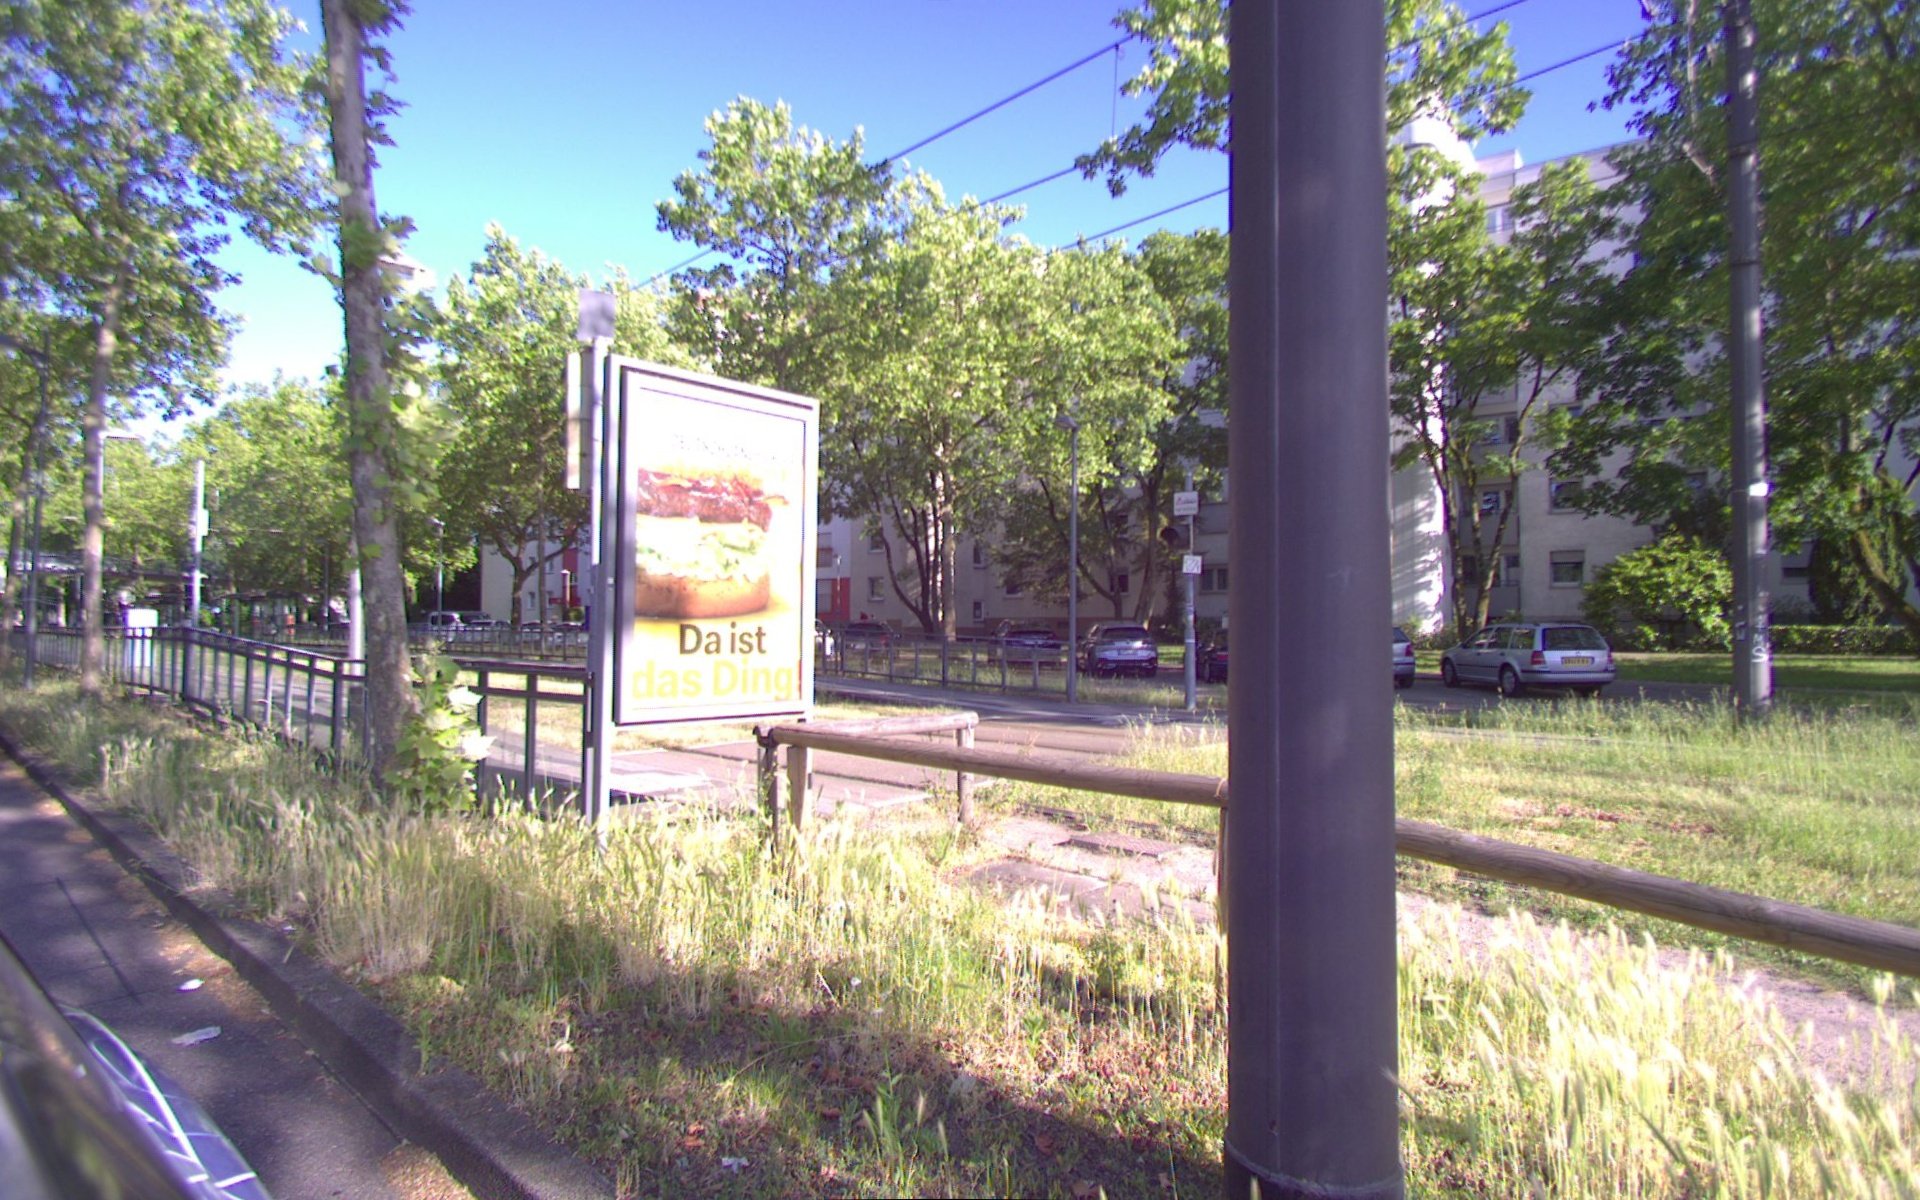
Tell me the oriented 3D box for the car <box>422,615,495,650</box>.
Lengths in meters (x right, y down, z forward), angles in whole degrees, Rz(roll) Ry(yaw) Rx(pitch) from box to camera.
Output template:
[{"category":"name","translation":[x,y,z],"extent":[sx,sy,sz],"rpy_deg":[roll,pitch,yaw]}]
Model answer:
[{"category":"car","translation":[-28.325,1.827,57.322],"extent":[1.898,1.898,4.365],"rpy_deg":[0,-1,1]}]

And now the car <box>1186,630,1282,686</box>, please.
[{"category":"car","translation":[6.731,1.402,25.202],"extent":[1.602,1.256,3.677],"rpy_deg":[0,-1,4]}]

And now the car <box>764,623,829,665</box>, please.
[{"category":"car","translation":[-5.907,1.573,36.913],"extent":[1.664,1.444,3.679],"rpy_deg":[0,-1,2]}]

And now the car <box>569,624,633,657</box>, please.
[{"category":"car","translation":[-16.680,1.844,47.131],"extent":[1.627,1.460,3.680],"rpy_deg":[0,-1,1]}]

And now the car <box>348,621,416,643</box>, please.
[{"category":"car","translation":[-37.927,2.059,66.512],"extent":[1.898,1.386,4.365],"rpy_deg":[0,-1,1]}]

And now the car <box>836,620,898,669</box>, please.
[{"category":"car","translation":[-3.106,1.459,34.463],"extent":[1.664,1.579,3.679],"rpy_deg":[0,-1,2]}]

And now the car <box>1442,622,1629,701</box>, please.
[{"category":"car","translation":[11.550,1.178,20.624],"extent":[1.707,1.444,3.681],"rpy_deg":[0,-1,1]}]

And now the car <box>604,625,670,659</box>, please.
[{"category":"car","translation":[-14.081,1.820,44.275],"extent":[1.627,1.403,3.679],"rpy_deg":[0,-1,2]}]

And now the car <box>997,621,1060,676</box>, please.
[{"category":"car","translation":[1.936,1.369,29.441],"extent":[1.664,1.482,3.680],"rpy_deg":[0,-1,1]}]

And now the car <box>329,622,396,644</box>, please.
[{"category":"car","translation":[-40.282,2.205,68.386],"extent":[1.898,1.386,4.365],"rpy_deg":[0,-1,1]}]

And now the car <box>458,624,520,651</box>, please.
[{"category":"car","translation":[-25.797,2.036,55.514],"extent":[1.627,1.407,3.680],"rpy_deg":[0,-1,1]}]

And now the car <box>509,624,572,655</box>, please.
[{"category":"car","translation":[-21.122,1.960,51.129],"extent":[1.627,1.460,3.680],"rpy_deg":[0,-1,1]}]

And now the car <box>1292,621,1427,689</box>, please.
[{"category":"car","translation":[9.155,1.221,23.523],"extent":[1.679,1.444,3.681],"rpy_deg":[0,-1,1]}]

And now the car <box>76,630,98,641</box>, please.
[{"category":"car","translation":[-109.042,4.400,126.410],"extent":[3.294,1.370,1.651],"rpy_deg":[-1,-2,41]}]

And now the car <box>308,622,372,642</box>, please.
[{"category":"car","translation":[-44.643,2.282,72.979],"extent":[1.898,1.386,4.365],"rpy_deg":[0,-1,1]}]

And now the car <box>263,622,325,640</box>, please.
[{"category":"car","translation":[-52.145,2.405,79.358],"extent":[1.898,1.386,4.365],"rpy_deg":[0,-1,1]}]

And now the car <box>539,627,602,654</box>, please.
[{"category":"car","translation":[-19.045,1.982,49.661],"extent":[1.627,1.251,3.680],"rpy_deg":[0,-1,1]}]

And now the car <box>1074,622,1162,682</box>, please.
[{"category":"car","translation":[4.209,1.347,27.488],"extent":[1.894,1.507,3.680],"rpy_deg":[0,-1,2]}]
